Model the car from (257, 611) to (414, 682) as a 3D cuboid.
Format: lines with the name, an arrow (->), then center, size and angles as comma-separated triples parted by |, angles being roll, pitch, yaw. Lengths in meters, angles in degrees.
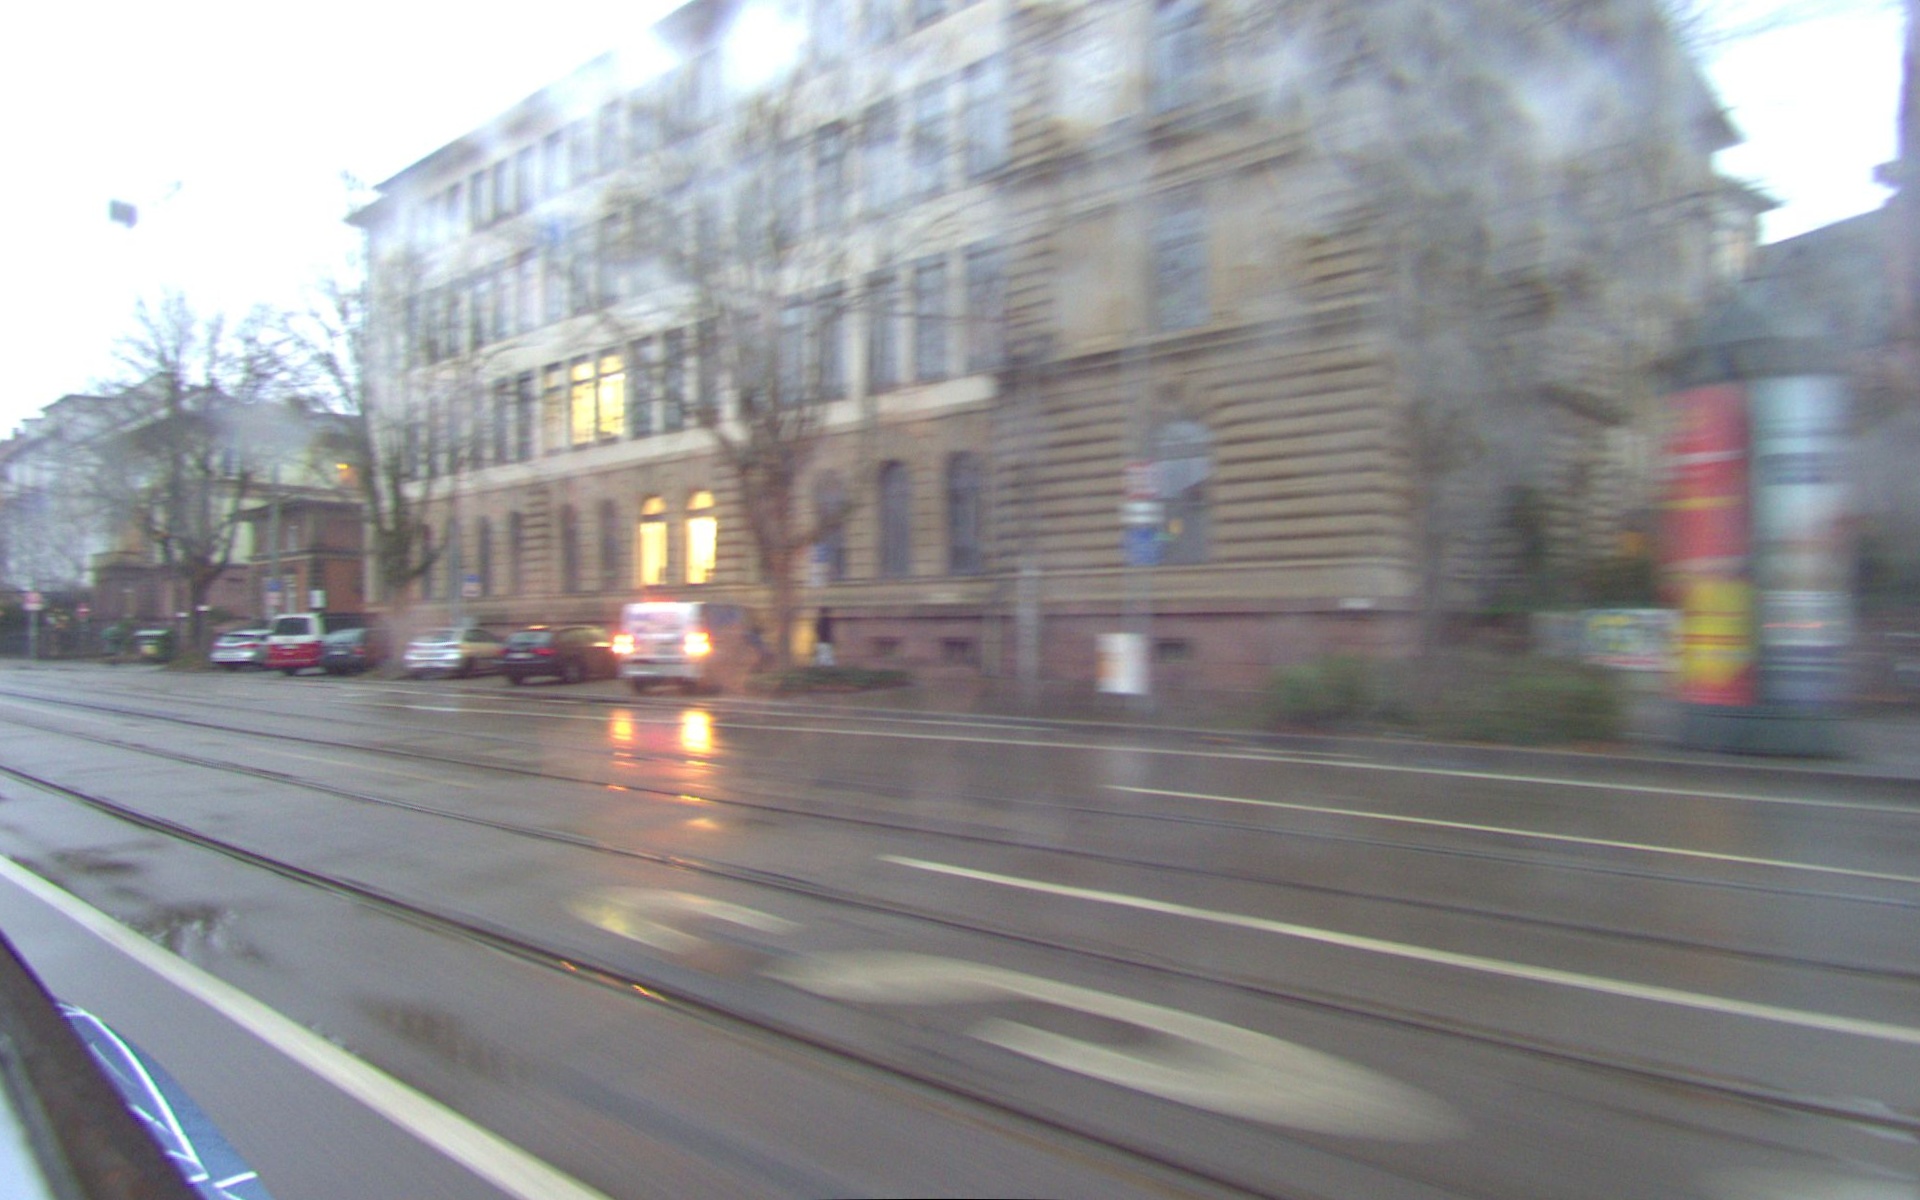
car -> -20.951, 1.492, 34.200 | 1.944, 2.069, 4.609 | -2, 1, 9

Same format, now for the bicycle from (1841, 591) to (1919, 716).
bicycle -> 14.140, 0.723, 14.514 | 2.394, 1.701, 0.714 | -2, 0, -2

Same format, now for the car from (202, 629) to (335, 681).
car -> -25.648, 1.996, 37.739 | 1.754, 1.603, 4.176 | -2, 1, 7

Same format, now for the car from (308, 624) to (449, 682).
car -> -18.446, 1.645, 32.307 | 1.803, 1.551, 3.966 | -2, 1, 9

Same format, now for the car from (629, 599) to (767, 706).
car -> -5.734, 1.054, 22.760 | 1.885, 2.049, 4.805 | -2, 1, -1

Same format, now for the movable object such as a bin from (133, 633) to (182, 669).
movable object such as a bin -> -35.082, 2.218, 44.245 | 1.325, 1.475, 0.986 | -2, 0, -1

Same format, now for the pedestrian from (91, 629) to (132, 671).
pedestrian -> -36.689, 2.156, 43.766 | 0.939, 1.716, 0.920 | -2, 0, 14

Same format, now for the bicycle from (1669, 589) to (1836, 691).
bicycle -> 14.007, 0.689, 17.922 | 2.394, 1.701, 0.714 | -2, 0, -2

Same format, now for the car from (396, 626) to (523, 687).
car -> -14.437, 1.591, 29.438 | 1.616, 1.468, 3.823 | -2, 1, 3

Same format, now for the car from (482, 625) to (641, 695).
car -> -10.213, 1.487, 26.356 | 1.780, 1.468, 4.463 | -2, 1, 10
